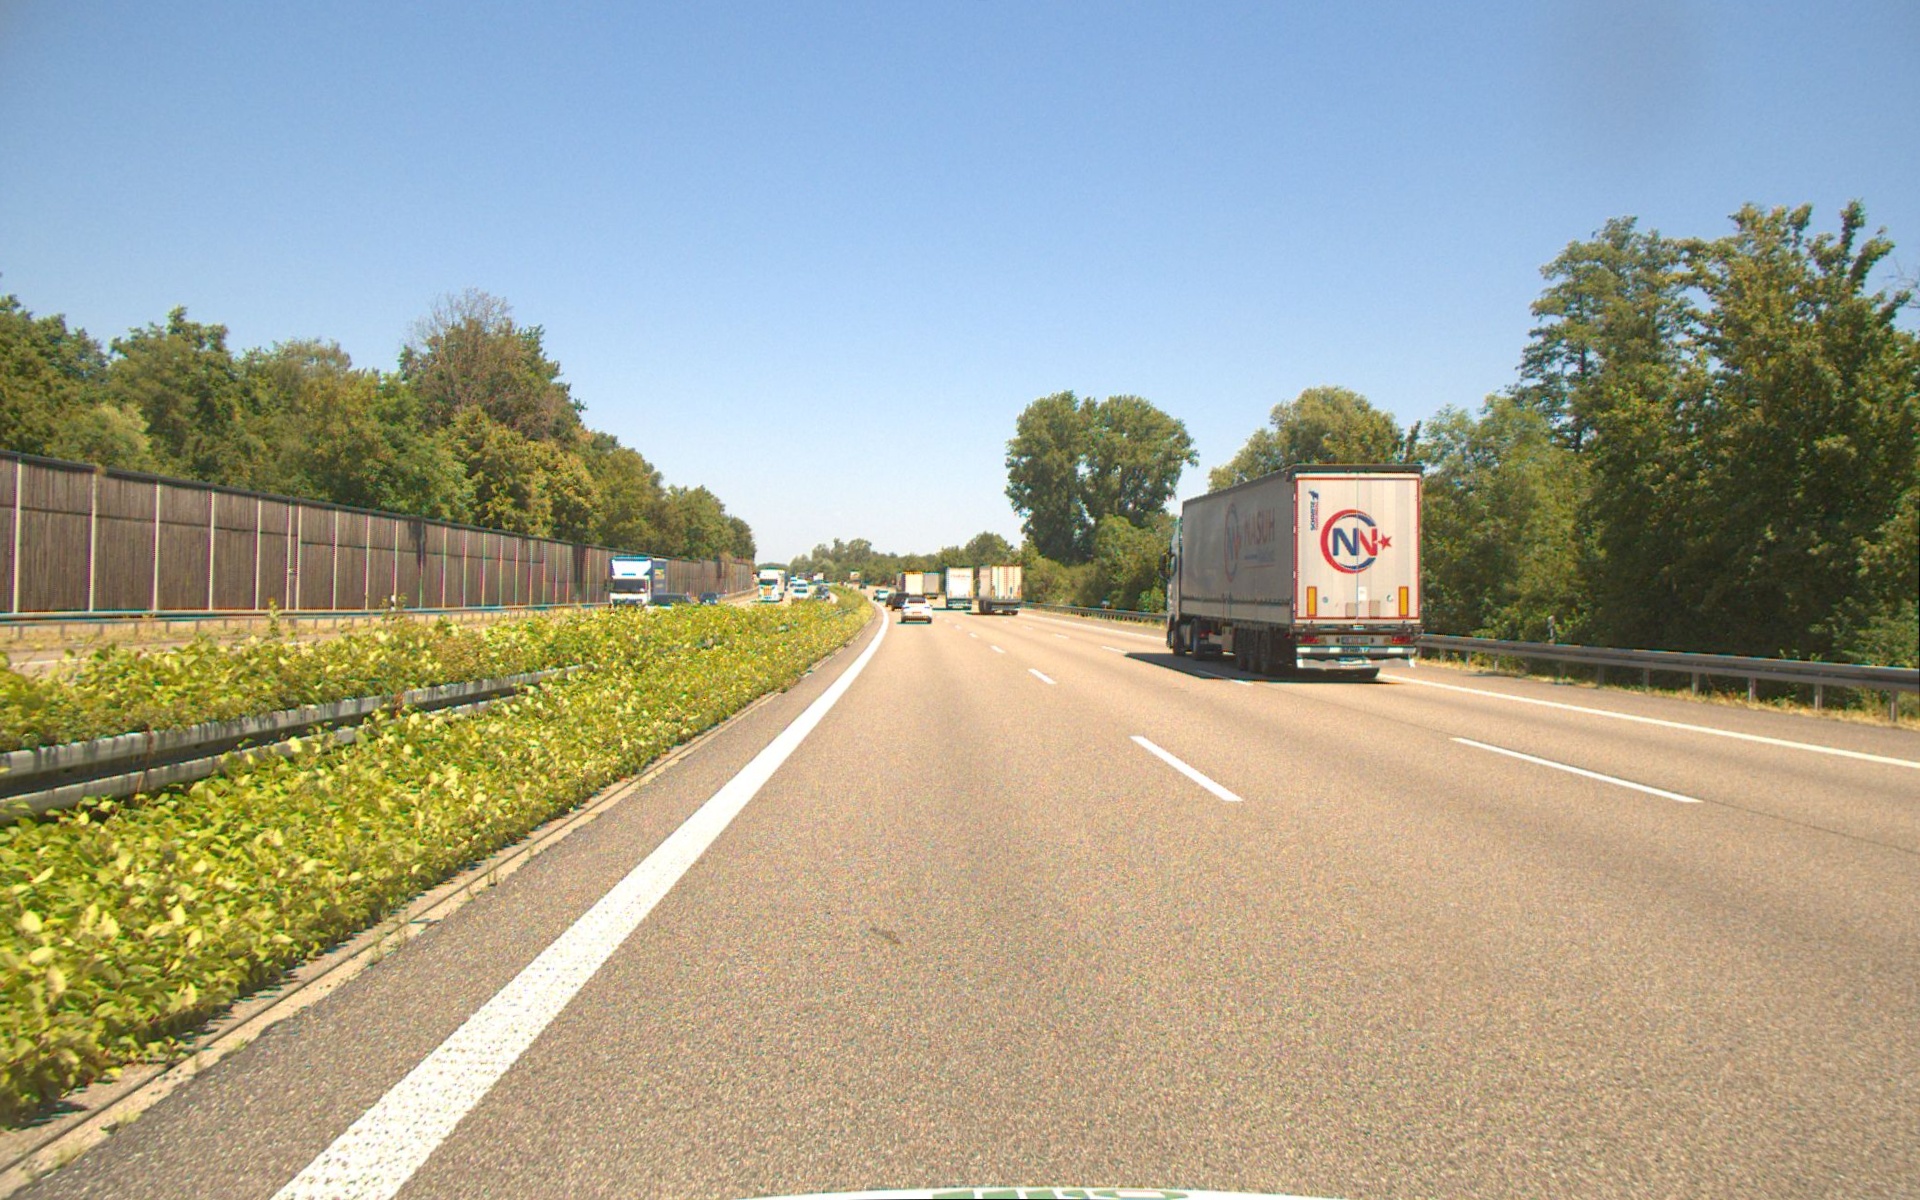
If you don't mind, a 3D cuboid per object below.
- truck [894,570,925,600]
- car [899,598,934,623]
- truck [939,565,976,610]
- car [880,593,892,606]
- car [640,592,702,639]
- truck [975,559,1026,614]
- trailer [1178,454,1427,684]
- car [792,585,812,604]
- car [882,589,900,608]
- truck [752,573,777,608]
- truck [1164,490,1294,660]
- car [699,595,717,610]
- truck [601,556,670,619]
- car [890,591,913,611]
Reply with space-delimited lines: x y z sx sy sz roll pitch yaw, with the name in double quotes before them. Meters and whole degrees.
"truck" -7.534 -2.176 244.645 3.512 4.386 12.171 1 0 -7
"car" -2.516 0.606 97.034 1.679 1.393 3.377 1 0 4
"truck" -0.279 -1.200 167.129 3.292 4.386 10.823 1 0 -2
"car" -10.450 -0.136 232.802 1.689 1.814 3.998 0 0 -3
"car" -10.370 0.534 59.604 1.551 1.616 3.999 1 0 -1
"truck" 3.290 -1.057 137.599 3.422 4.386 10.983 1 0 -2
"trailer" 7.441 -0.595 38.443 2.571 4.335 14.057 1 0 -1
"car" -17.250 -0.611 181.096 1.887 1.979 4.607 1 0 -2
"car" -7.701 -0.175 184.236 1.954 2.049 3.998 0 0 -3
"truck" -24.927 -1.193 211.155 2.676 4.266 6.032 1 0 -3
"truck" 7.278 -0.635 45.400 2.553 4.362 5.434 1 0 -1
"car" -21.972 0.224 144.106 1.254 1.277 3.026 1 0 -3
"truck" -19.614 -0.736 100.489 2.776 3.672 8.740 1 0 -3
"car" -5.404 0.088 152.831 1.954 1.803 3.997 0 0 -4
